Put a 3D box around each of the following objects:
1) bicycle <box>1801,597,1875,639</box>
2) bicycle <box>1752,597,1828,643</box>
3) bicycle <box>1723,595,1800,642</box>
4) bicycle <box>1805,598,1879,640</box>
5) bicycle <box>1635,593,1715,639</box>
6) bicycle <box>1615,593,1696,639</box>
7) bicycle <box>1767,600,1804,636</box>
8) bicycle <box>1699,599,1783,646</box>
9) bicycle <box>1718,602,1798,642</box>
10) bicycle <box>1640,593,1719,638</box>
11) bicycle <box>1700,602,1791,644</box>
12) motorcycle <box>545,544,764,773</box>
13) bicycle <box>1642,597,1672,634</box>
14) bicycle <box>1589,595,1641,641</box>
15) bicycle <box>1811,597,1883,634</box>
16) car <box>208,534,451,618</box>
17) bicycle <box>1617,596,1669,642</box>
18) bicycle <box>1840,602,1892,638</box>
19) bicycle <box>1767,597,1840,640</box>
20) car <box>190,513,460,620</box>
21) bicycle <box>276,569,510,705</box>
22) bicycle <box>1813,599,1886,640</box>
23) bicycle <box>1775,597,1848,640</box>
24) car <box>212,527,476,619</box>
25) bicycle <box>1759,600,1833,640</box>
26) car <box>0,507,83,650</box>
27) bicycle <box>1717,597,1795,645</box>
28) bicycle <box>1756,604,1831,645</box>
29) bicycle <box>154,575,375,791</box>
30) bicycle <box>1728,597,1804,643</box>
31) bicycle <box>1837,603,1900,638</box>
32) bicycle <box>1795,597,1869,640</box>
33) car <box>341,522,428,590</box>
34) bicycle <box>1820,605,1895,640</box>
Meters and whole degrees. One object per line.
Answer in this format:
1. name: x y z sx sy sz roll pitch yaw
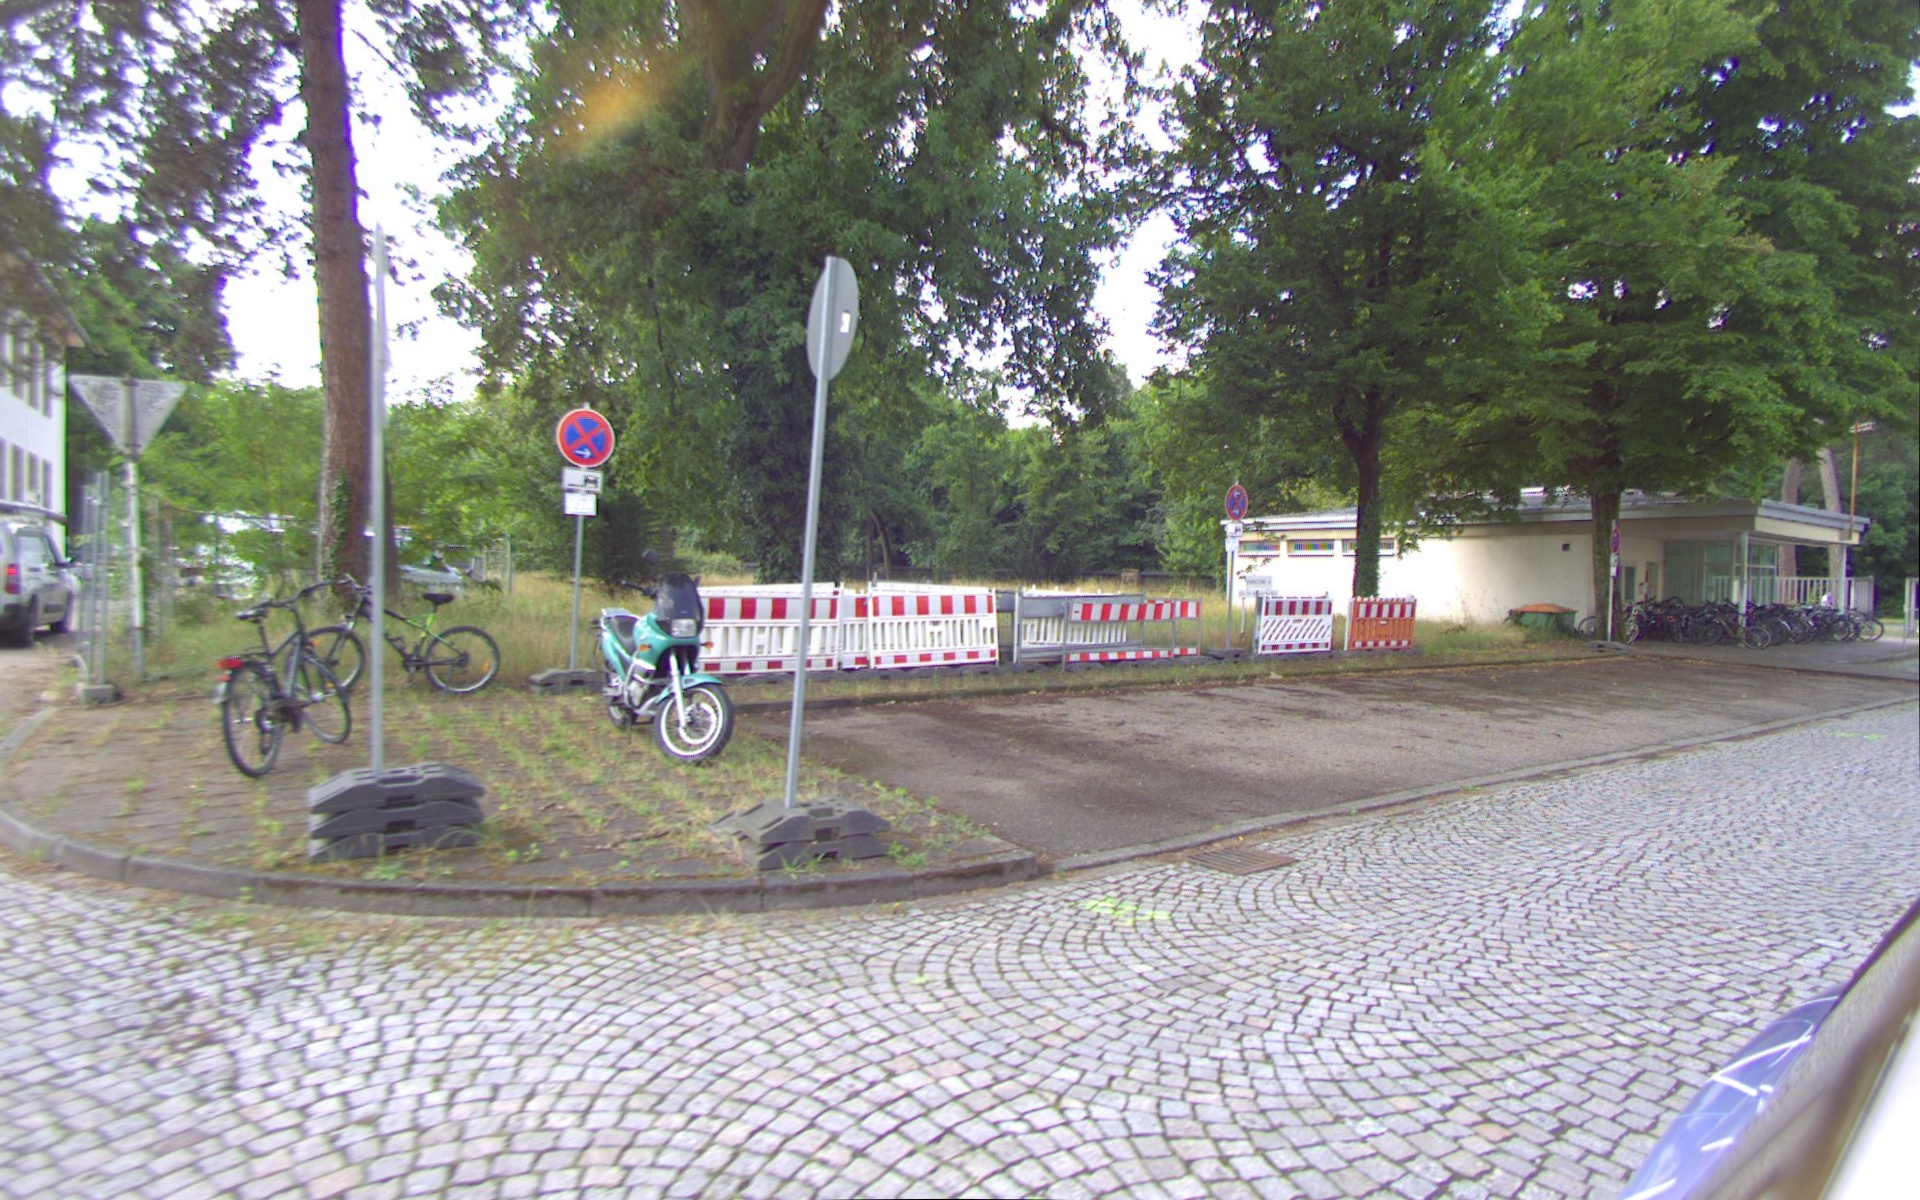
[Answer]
1. bicycle: 26.436 0.542 30.484 0.320 1.155 1.615 1 2 -43
2. bicycle: 23.770 0.559 29.010 1.629 1.204 0.491 4 2 42
3. bicycle: 22.484 0.494 28.419 1.629 1.204 0.413 4 2 42
4. bicycle: 26.793 0.557 30.769 0.350 1.155 1.615 1 2 -43
5. bicycle: 20.398 0.437 28.898 0.597 1.179 1.745 1 2 -40
6. bicycle: 19.510 0.439 28.406 0.597 1.179 1.745 1 2 -40
7. bicycle: 26.215 0.561 32.130 1.798 1.089 0.491 1 2 -38
8. bicycle: 20.373 0.575 26.418 1.675 1.122 0.333 4 2 41
9. bicycle: 21.648 0.594 27.482 1.618 0.988 0.320 3 2 25
10. bicycle: 21.016 0.434 29.585 0.597 1.179 1.745 1 2 -40
11. bicycle: 20.986 0.609 27.078 1.728 0.988 0.753 3 2 24
12. motorcycle: -2.414 0.349 7.766 0.743 1.503 2.281 1 1 -40
13. bicycle: 21.373 0.470 31.027 0.478 1.089 1.655 3 2 42
14. bicycle: 17.201 0.462 26.564 1.605 1.130 0.598 1 2 -38
15. bicycle: 28.607 0.499 32.660 1.712 1.146 0.473 1 0 11
16. car: -15.432 -0.537 25.097 1.980 1.848 4.829 0 0 27
17. bicycle: 17.591 0.485 26.068 1.605 1.130 0.598 1 2 -38
18. bicycle: 27.940 0.598 31.210 1.145 1.076 0.283 1 0 34
19. bicycle: 24.948 0.542 29.968 0.320 1.155 1.593 1 2 -43
20. car: -17.307 -0.824 28.125 1.978 2.611 6.370 0 0 24
21. bicycle: -5.372 0.336 9.645 1.868 1.184 0.644 2 0 -34
22. bicycle: 27.357 0.593 31.133 0.350 1.155 1.615 1 2 -43
23. bicycle: 25.498 0.540 30.332 0.320 1.155 1.615 1 2 -43
24. car: -13.722 -0.545 22.921 1.980 1.848 4.829 0 0 27
25. bicycle: 24.574 0.566 29.768 0.320 1.063 1.593 1 2 -43
26. car: -14.961 -0.366 15.381 1.870 1.945 4.875 2 0 -35
27. bicycle: 22.028 0.572 28.019 1.628 1.204 0.466 4 2 41
28. bicycle: 24.188 0.708 29.404 1.628 1.063 0.329 4 2 40
29. bicycle: -4.517 0.451 6.733 0.642 1.212 1.909 1 1 -17
30. bicycle: 22.934 0.561 28.821 1.629 1.204 0.413 4 2 42
31. bicycle: 28.241 0.624 31.483 1.393 1.059 0.336 1 0 28
32. bicycle: 26.101 0.542 30.303 0.320 1.155 1.615 1 2 -43
33. car: -20.337 -1.431 35.614 2.170 2.122 6.162 0 0 -35
34. bicycle: 28.419 0.715 32.076 1.725 1.059 0.452 1 0 16
